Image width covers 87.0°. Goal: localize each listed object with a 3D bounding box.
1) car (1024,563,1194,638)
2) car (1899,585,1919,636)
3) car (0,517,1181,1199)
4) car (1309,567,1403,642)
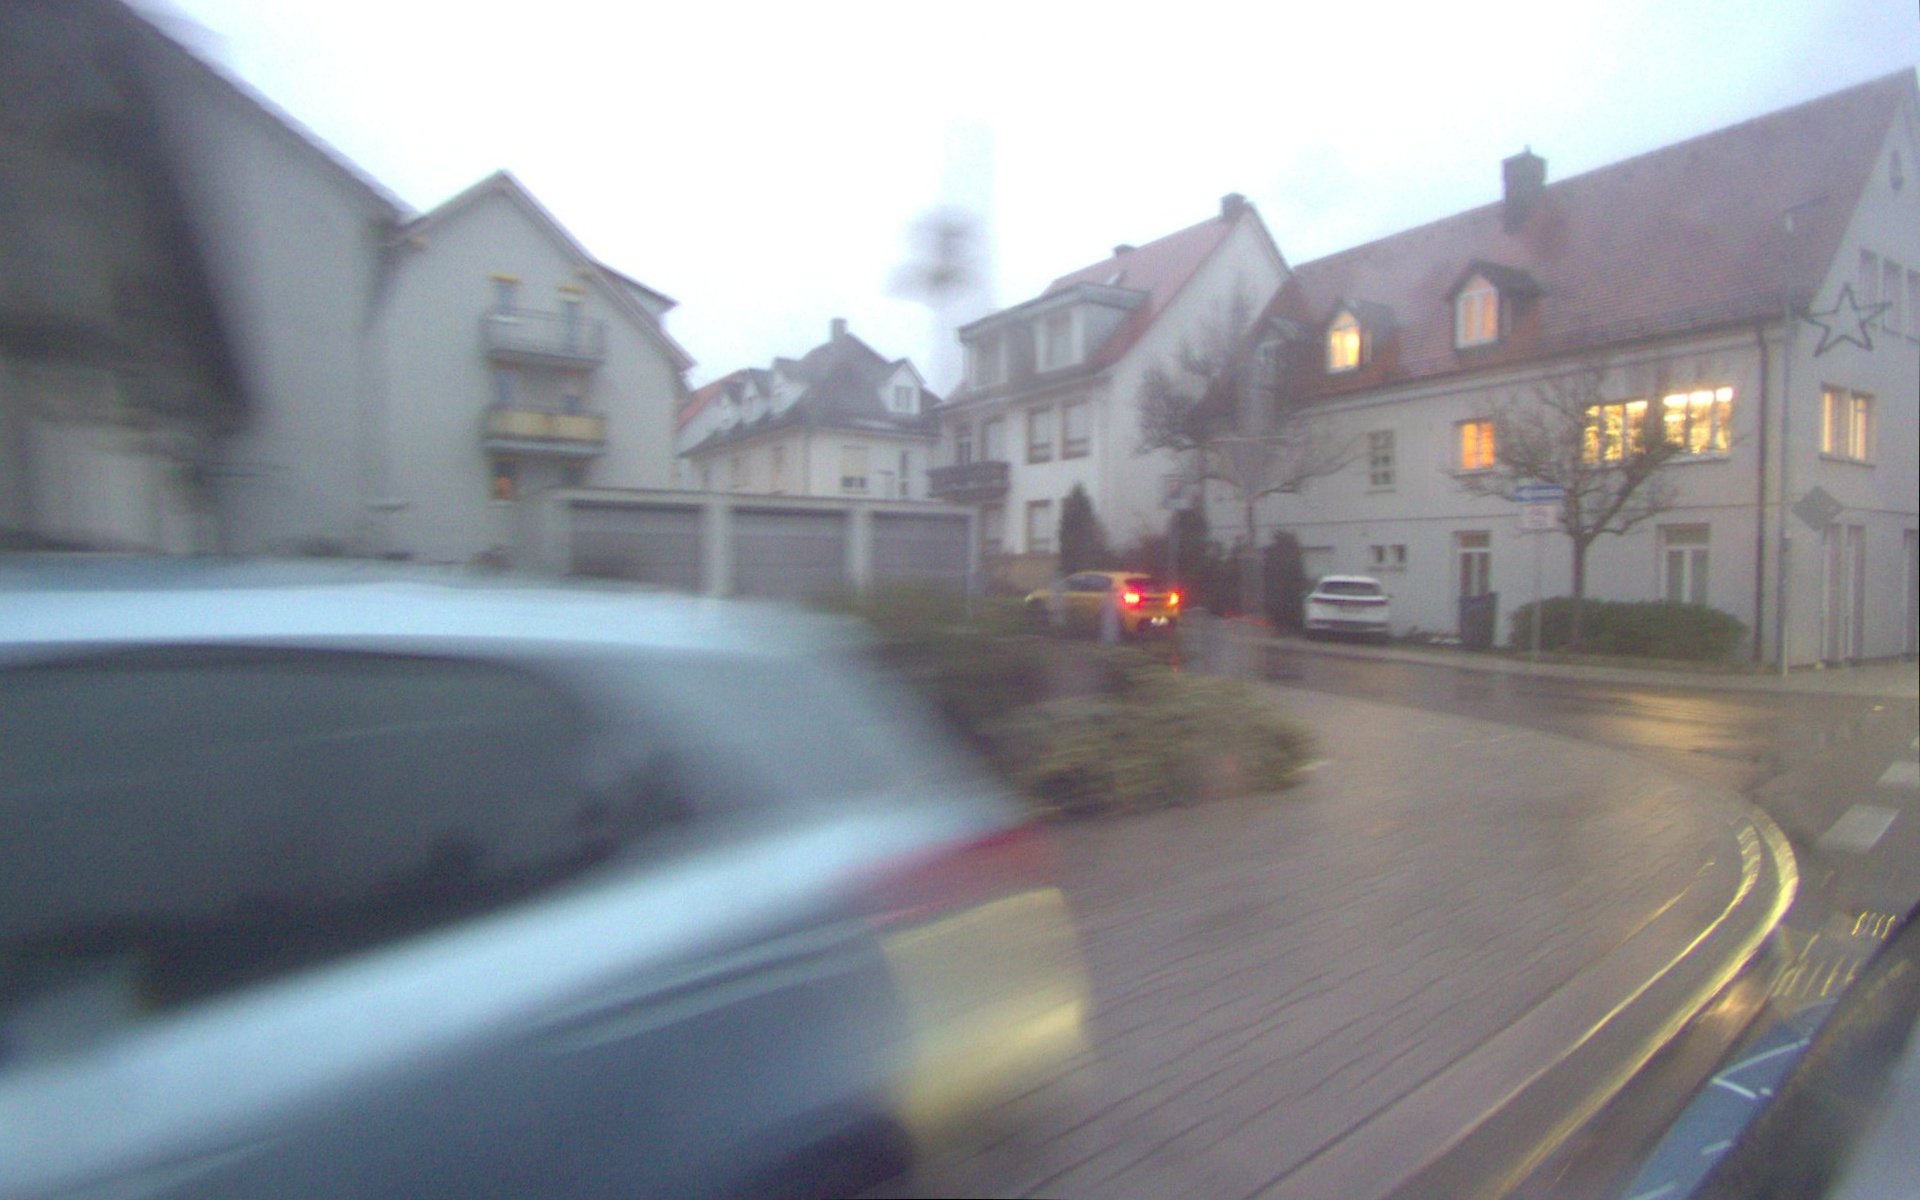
[{"bbox_3d":[3.220,-0.029,22.595,1.741,1.465,3.731,1,2,-31],"label":"car"},{"bbox_3d":[37.401,0.440,38.268,4.161,1.845,1.788,1,2,-33],"label":"car"},{"bbox_3d":[-1.662,0.618,1.426,3.928,1.476,1.737,0,4,-39],"label":"car"},{"bbox_3d":[9.063,0.053,23.329,1.774,1.486,4.196,3,2,20],"label":"car"}]
